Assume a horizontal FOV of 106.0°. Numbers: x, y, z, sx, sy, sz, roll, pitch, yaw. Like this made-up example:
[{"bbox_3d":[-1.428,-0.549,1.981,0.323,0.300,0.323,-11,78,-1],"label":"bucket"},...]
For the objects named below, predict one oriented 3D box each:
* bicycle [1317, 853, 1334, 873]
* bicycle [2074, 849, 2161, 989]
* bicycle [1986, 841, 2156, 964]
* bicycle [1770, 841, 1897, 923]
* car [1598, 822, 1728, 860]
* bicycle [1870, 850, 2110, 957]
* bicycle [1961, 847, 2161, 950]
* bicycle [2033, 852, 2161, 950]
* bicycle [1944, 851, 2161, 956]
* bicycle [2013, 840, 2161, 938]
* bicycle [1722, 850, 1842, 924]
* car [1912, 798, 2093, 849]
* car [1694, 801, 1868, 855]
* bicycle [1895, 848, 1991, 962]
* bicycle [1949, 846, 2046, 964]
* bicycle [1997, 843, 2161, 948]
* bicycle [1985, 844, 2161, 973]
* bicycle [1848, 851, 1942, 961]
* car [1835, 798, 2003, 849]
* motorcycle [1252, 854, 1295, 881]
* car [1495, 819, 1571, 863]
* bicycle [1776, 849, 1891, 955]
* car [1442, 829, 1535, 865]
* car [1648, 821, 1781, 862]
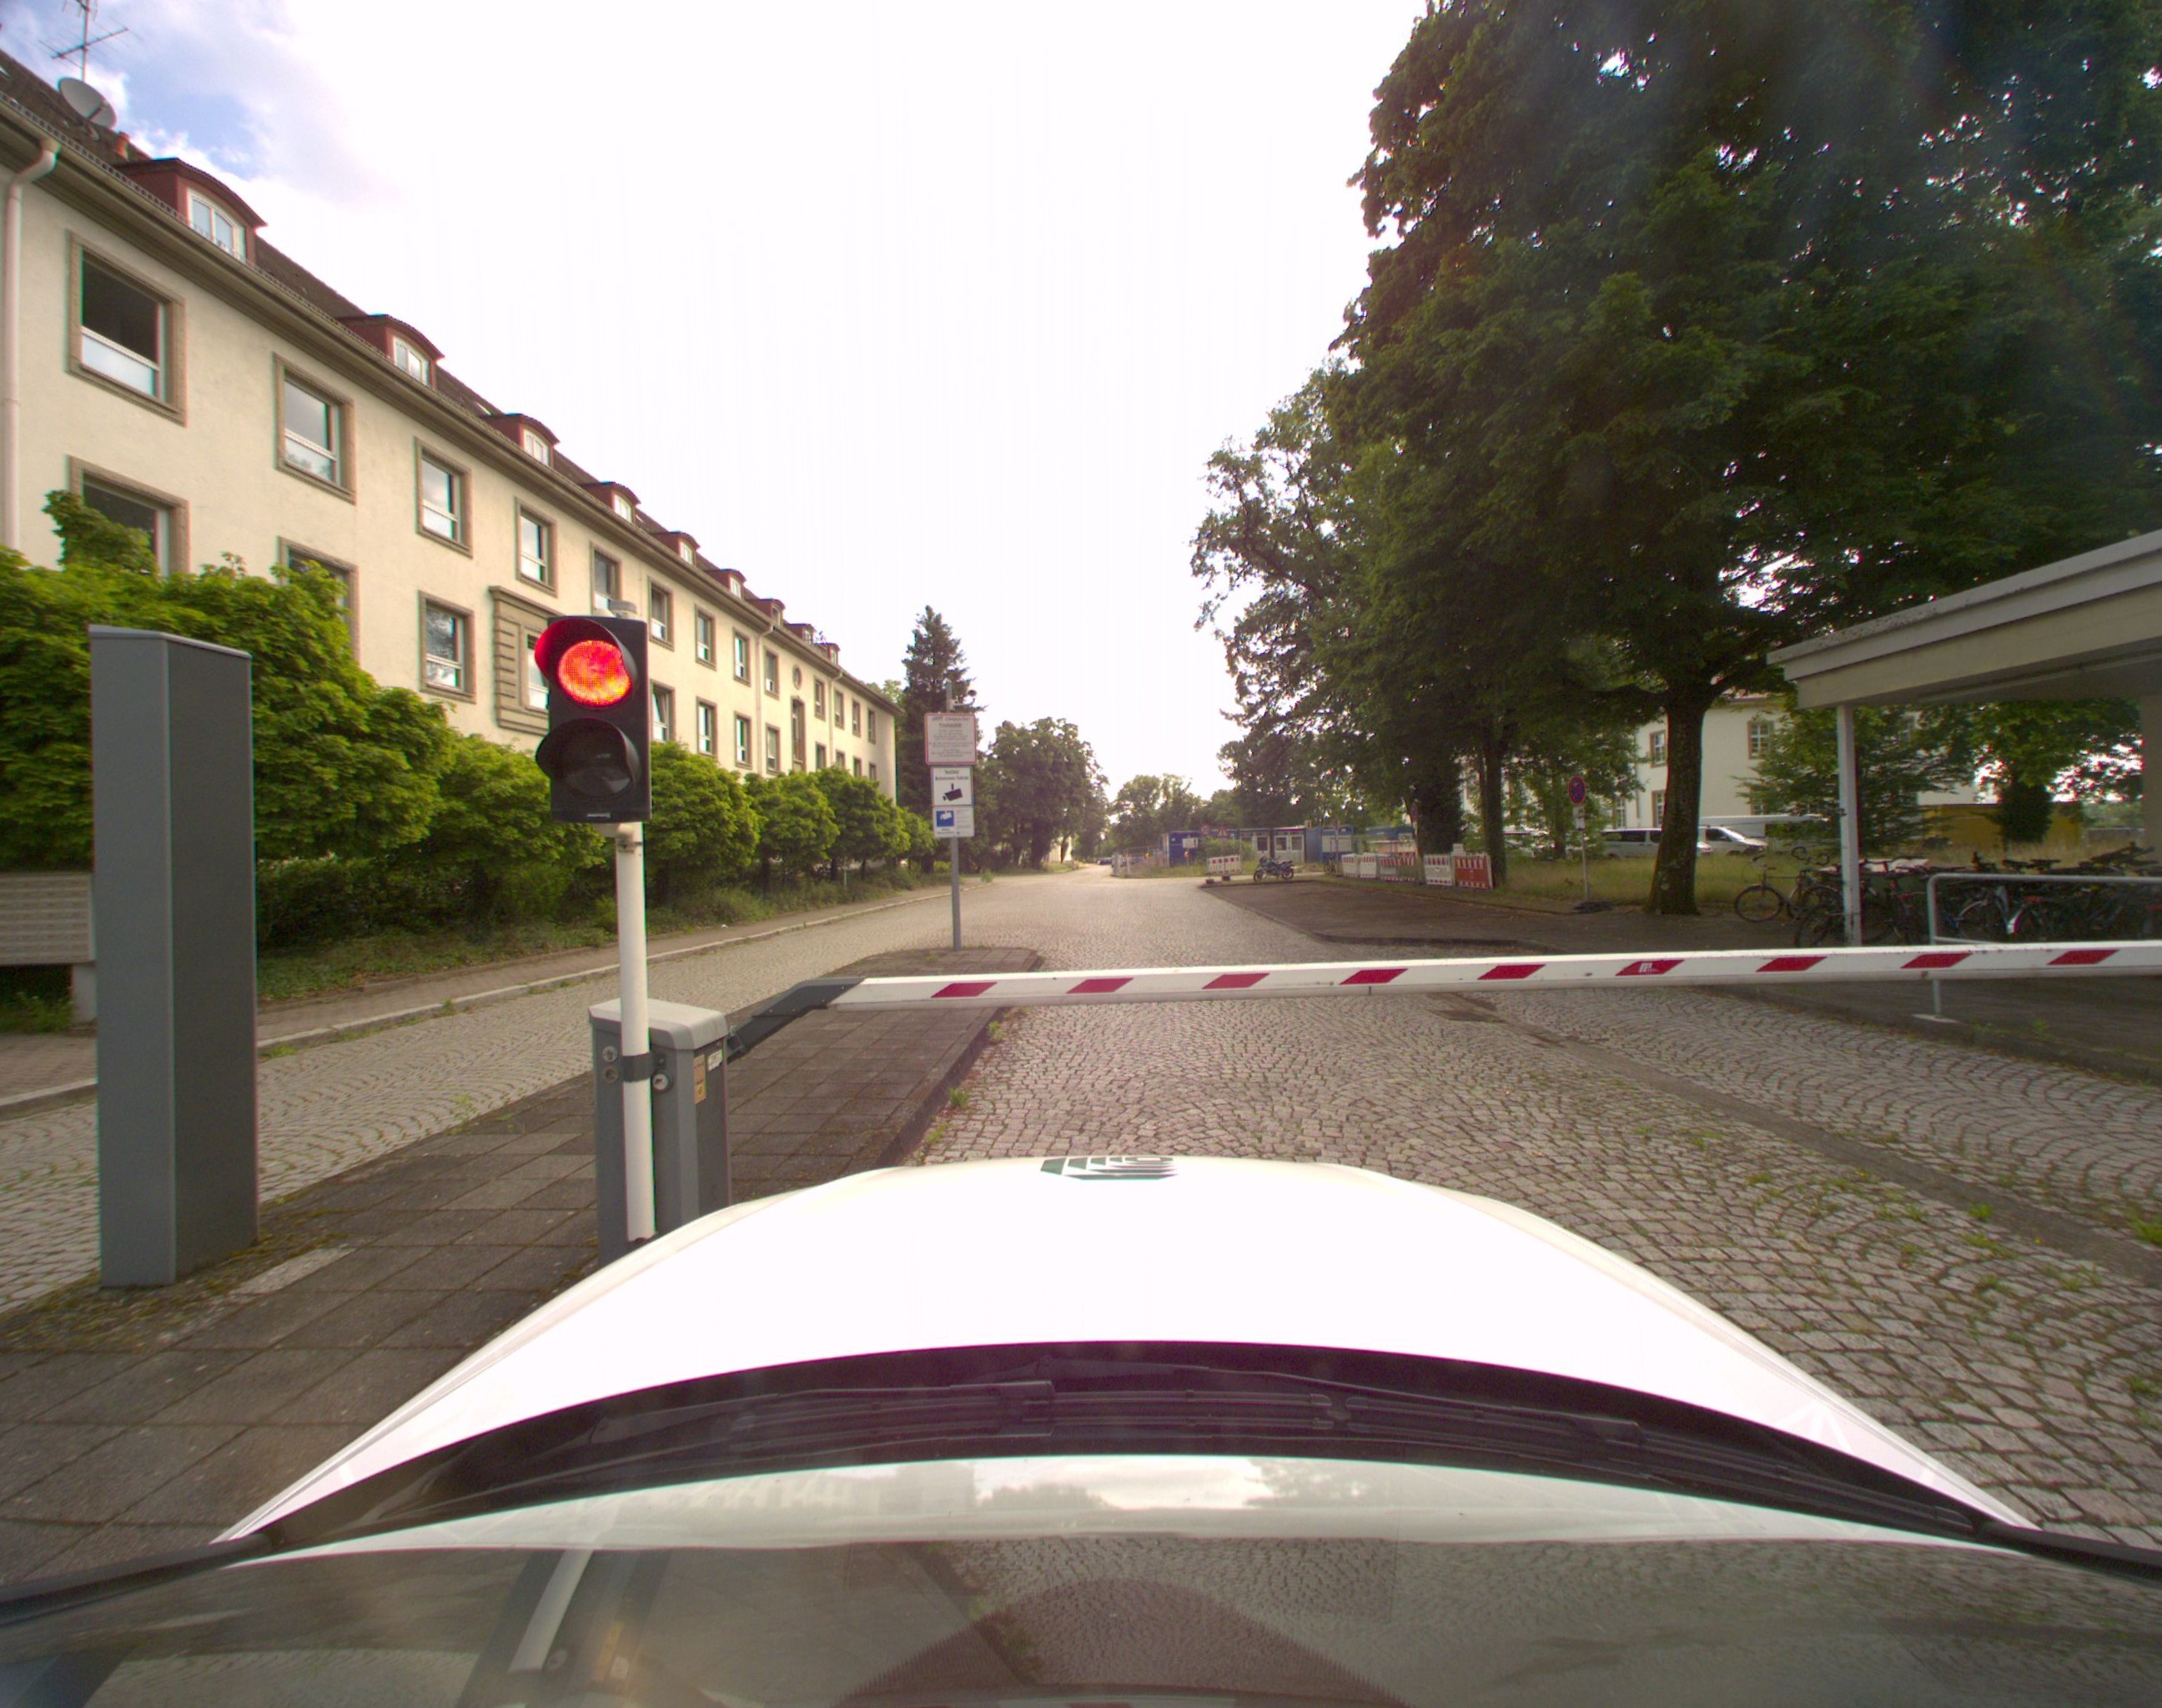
[{"bbox_3d":[12.455,0.474,41.510,0.330,1.008,1.726,-2,-2,2],"label":"bicycle"},{"bbox_3d":[9.884,0.540,7.362,1.749,1.171,0.494,-2,-3,-18],"label":"bicycle"},{"bbox_3d":[10.157,0.489,8.368,1.377,1.171,0.358,-2,-2,-7],"label":"bicycle"},{"bbox_3d":[11.683,0.440,12.718,0.502,1.171,1.555,-2,-2,2],"label":"bicycle"},{"bbox_3d":[28.412,-0.581,39.933,2.004,1.650,4.799,-1,-1,-26],"label":"car"},{"bbox_3d":[10.457,0.538,9.467,0.446,1.119,1.785,-1,-1,-23],"label":"bicycle"},{"bbox_3d":[11.401,0.488,9.313,0.371,1.081,1.893,-2,-2,-8],"label":"bicycle"},{"bbox_3d":[12.188,0.524,9.212,0.371,1.083,1.892,-2,-2,-8],"label":"bicycle"},{"bbox_3d":[11.054,0.511,9.197,0.371,1.067,1.907,-2,0,-8],"label":"bicycle"},{"bbox_3d":[12.640,0.416,9.906,0.370,1.128,1.898,-2,-2,1],"label":"bicycle"},{"bbox_3d":[11.082,0.493,12.941,0.502,1.086,1.585,-2,0,0],"label":"bicycle"},{"bbox_3d":[44.293,-1.384,39.437,2.431,1.957,5.698,-2,-2,4],"label":"car"},{"bbox_3d":[34.280,-1.188,40.179,2.005,2.308,6.142,-1,-1,-29],"label":"car"},{"bbox_3d":[9.532,0.538,8.994,1.387,1.171,0.355,-1,-3,-30],"label":"bicycle"},{"bbox_3d":[9.791,0.518,8.688,1.387,1.171,0.355,-1,-3,-30],"label":"bicycle"},{"bbox_3d":[11.784,0.451,9.266,0.371,1.119,1.893,-2,-1,-8],"label":"bicycle"},{"bbox_3d":[9.906,0.512,7.953,1.796,1.171,0.358,-2,-2,-4],"label":"bicycle"},{"bbox_3d":[9.364,0.572,9.360,1.387,1.171,0.355,-1,-3,-30],"label":"bicycle"},{"bbox_3d":[40.431,-1.390,39.589,2.431,1.957,5.698,-2,-2,4],"label":"car"},{"bbox_3d":[9.451,0.658,40.042,1.950,1.194,0.461,-3,4,0],"label":"motorcycle"},{"bbox_3d":[27.319,-0.727,49.470,1.984,2.424,5.365,-2,-1,6],"label":"car"},{"bbox_3d":[9.167,0.561,9.917,1.384,1.171,0.430,-3,-2,-23],"label":"bicycle"},{"bbox_3d":[22.898,-0.379,45.891,4.201,1.820,2.002,-2,-1,4],"label":"car"},{"bbox_3d":[31.165,-0.591,40.240,2.004,1.789,4.799,-1,-1,-26],"label":"car"}]
